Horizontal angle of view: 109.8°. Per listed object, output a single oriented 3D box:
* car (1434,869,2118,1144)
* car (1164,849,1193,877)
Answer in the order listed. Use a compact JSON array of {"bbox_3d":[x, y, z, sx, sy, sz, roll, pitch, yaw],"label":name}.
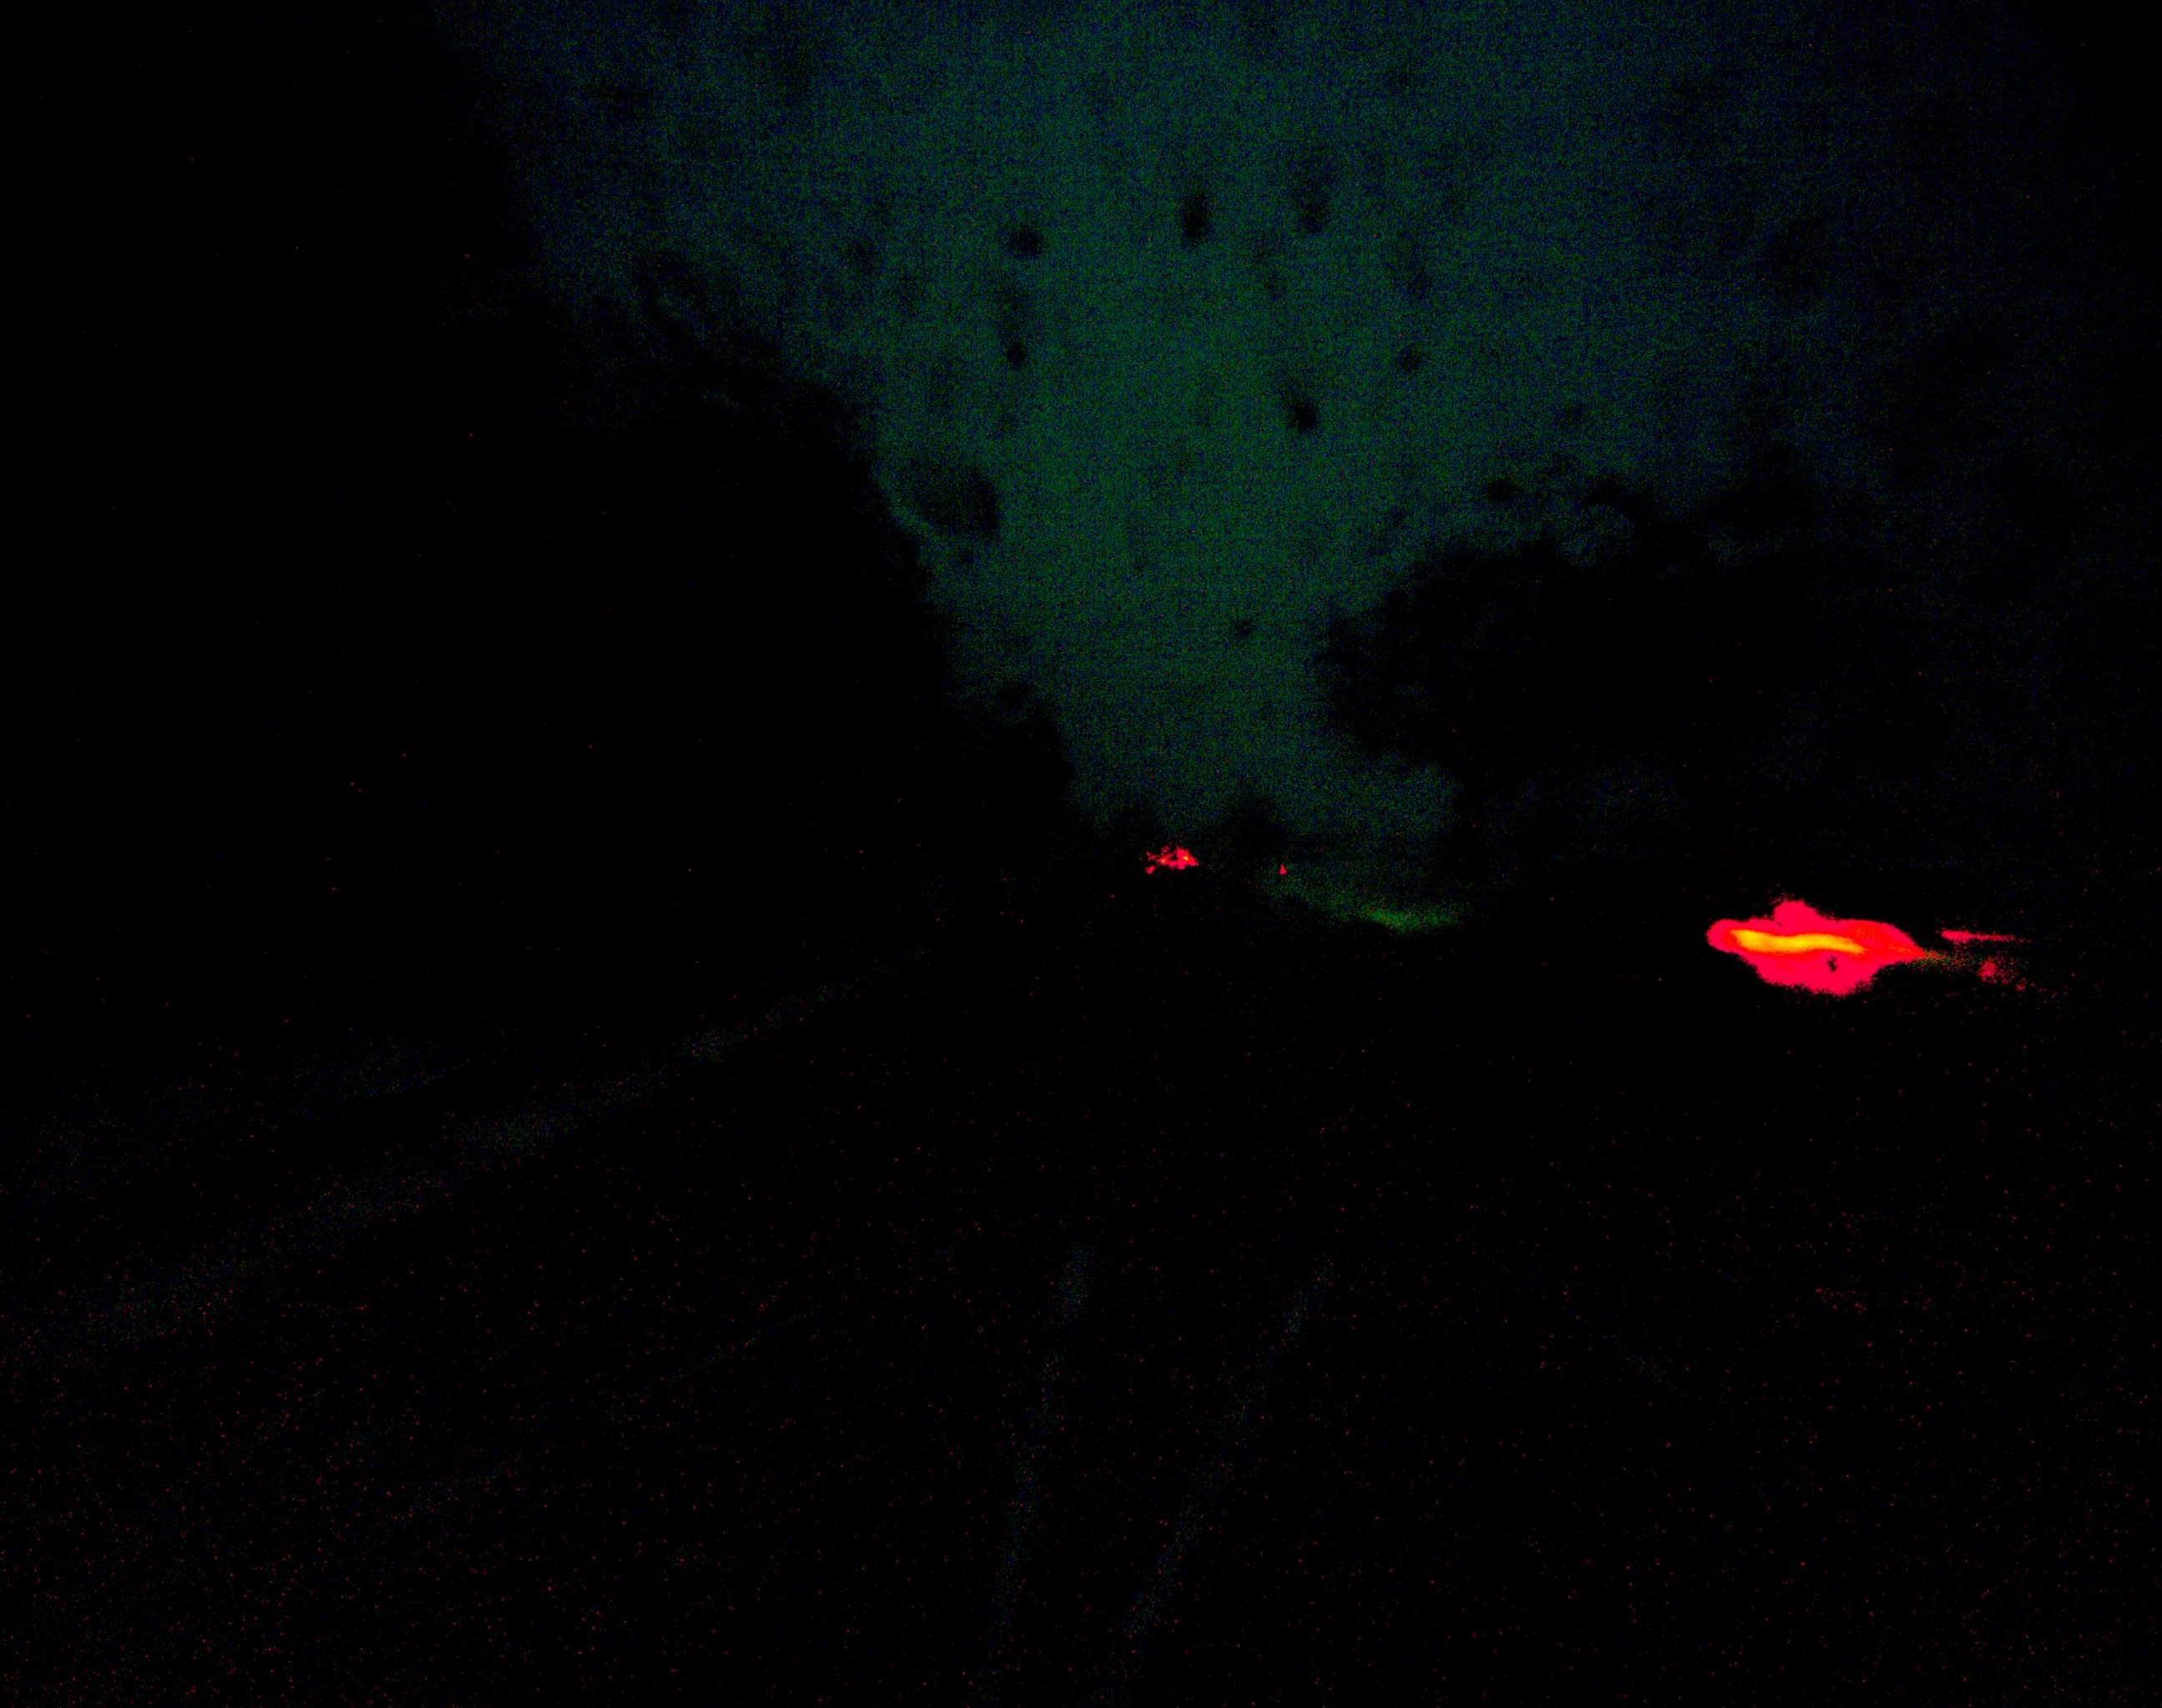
[{"bbox_3d":[4.842,0.875,6.234,1.747,1.477,4.003,0,-1,-6],"label":"car"},{"bbox_3d":[6.391,0.568,50.240,1.755,1.683,4.428,-2,0,6],"label":"car"}]
